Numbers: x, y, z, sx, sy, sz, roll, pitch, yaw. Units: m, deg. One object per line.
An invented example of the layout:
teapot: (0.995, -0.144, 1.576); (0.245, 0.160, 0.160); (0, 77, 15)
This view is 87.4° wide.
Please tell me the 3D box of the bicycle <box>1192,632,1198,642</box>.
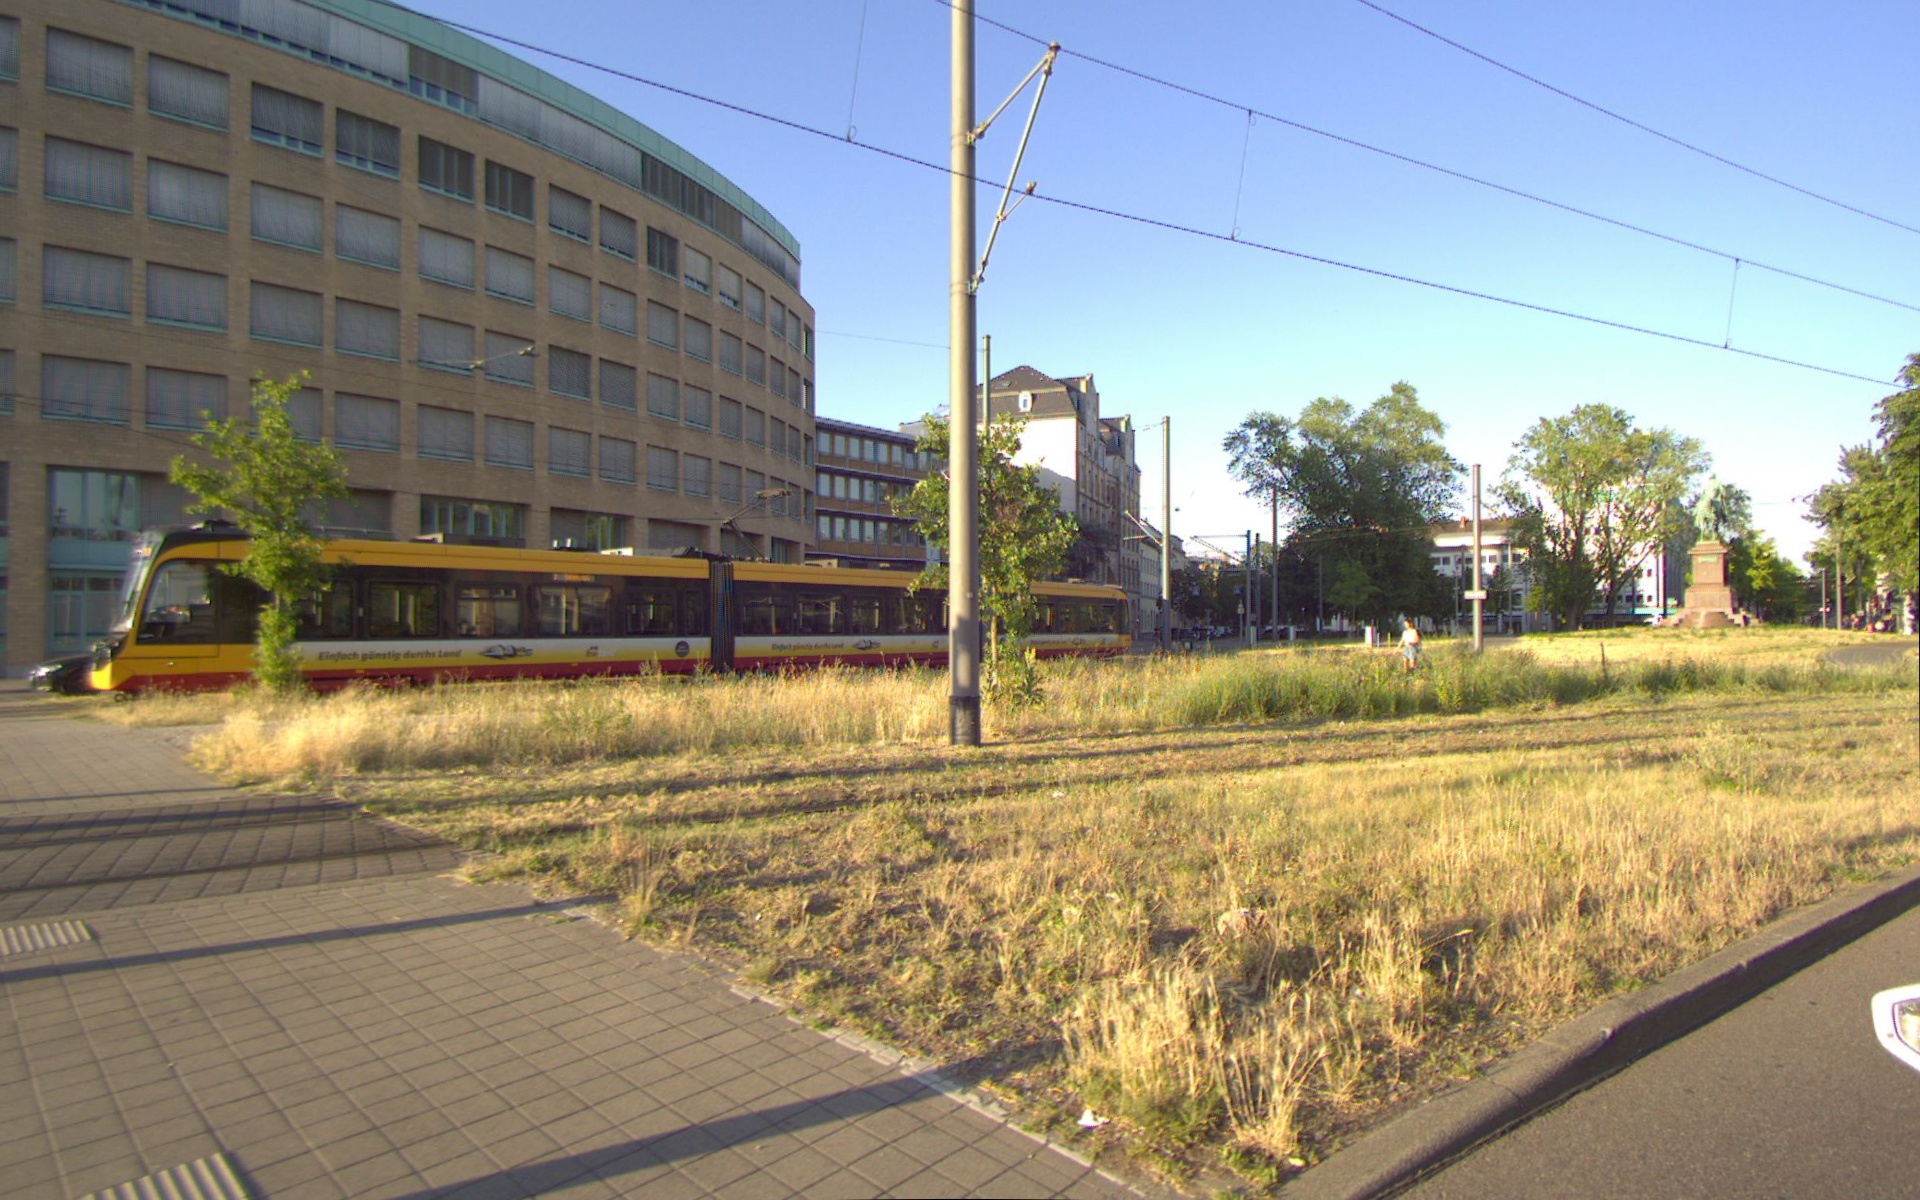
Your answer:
bicycle: (25.579, 3.979, 109.235); (0.463, 1.024, 2.201); (0, 0, 19)

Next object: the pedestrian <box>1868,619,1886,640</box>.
pedestrian: (83.467, 2.690, 91.405); (0.982, 1.865, 0.859); (-2, 1, -24)

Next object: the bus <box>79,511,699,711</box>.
bus: (-12.258, 0.226, 23.374); (3.705, 3.502, 12.070); (0, 0, 41)

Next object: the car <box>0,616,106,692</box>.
car: (-21.048, 1.139, 21.564); (1.972, 1.563, 3.976); (0, 0, 43)

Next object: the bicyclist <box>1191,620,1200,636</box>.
bicyclist: (25.692, 3.047, 109.600); (0.934, 1.713, 0.898); (0, 0, 19)

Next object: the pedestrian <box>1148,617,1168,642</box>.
pedestrian: (16.769, 2.483, 85.177); (1.043, 2.122, 1.627); (0, 0, 38)

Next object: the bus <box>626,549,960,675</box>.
bus: (-4.855, 0.355, 32.017); (3.705, 3.375, 10.682); (0, 0, 41)

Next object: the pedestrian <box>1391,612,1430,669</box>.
pedestrian: (11.834, 1.046, 26.396); (0.691, 1.478, 0.667); (0, 0, -28)

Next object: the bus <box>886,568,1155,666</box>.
bus: (3.022, 0.648, 41.344); (3.704, 3.407, 13.648); (0, 0, 40)
